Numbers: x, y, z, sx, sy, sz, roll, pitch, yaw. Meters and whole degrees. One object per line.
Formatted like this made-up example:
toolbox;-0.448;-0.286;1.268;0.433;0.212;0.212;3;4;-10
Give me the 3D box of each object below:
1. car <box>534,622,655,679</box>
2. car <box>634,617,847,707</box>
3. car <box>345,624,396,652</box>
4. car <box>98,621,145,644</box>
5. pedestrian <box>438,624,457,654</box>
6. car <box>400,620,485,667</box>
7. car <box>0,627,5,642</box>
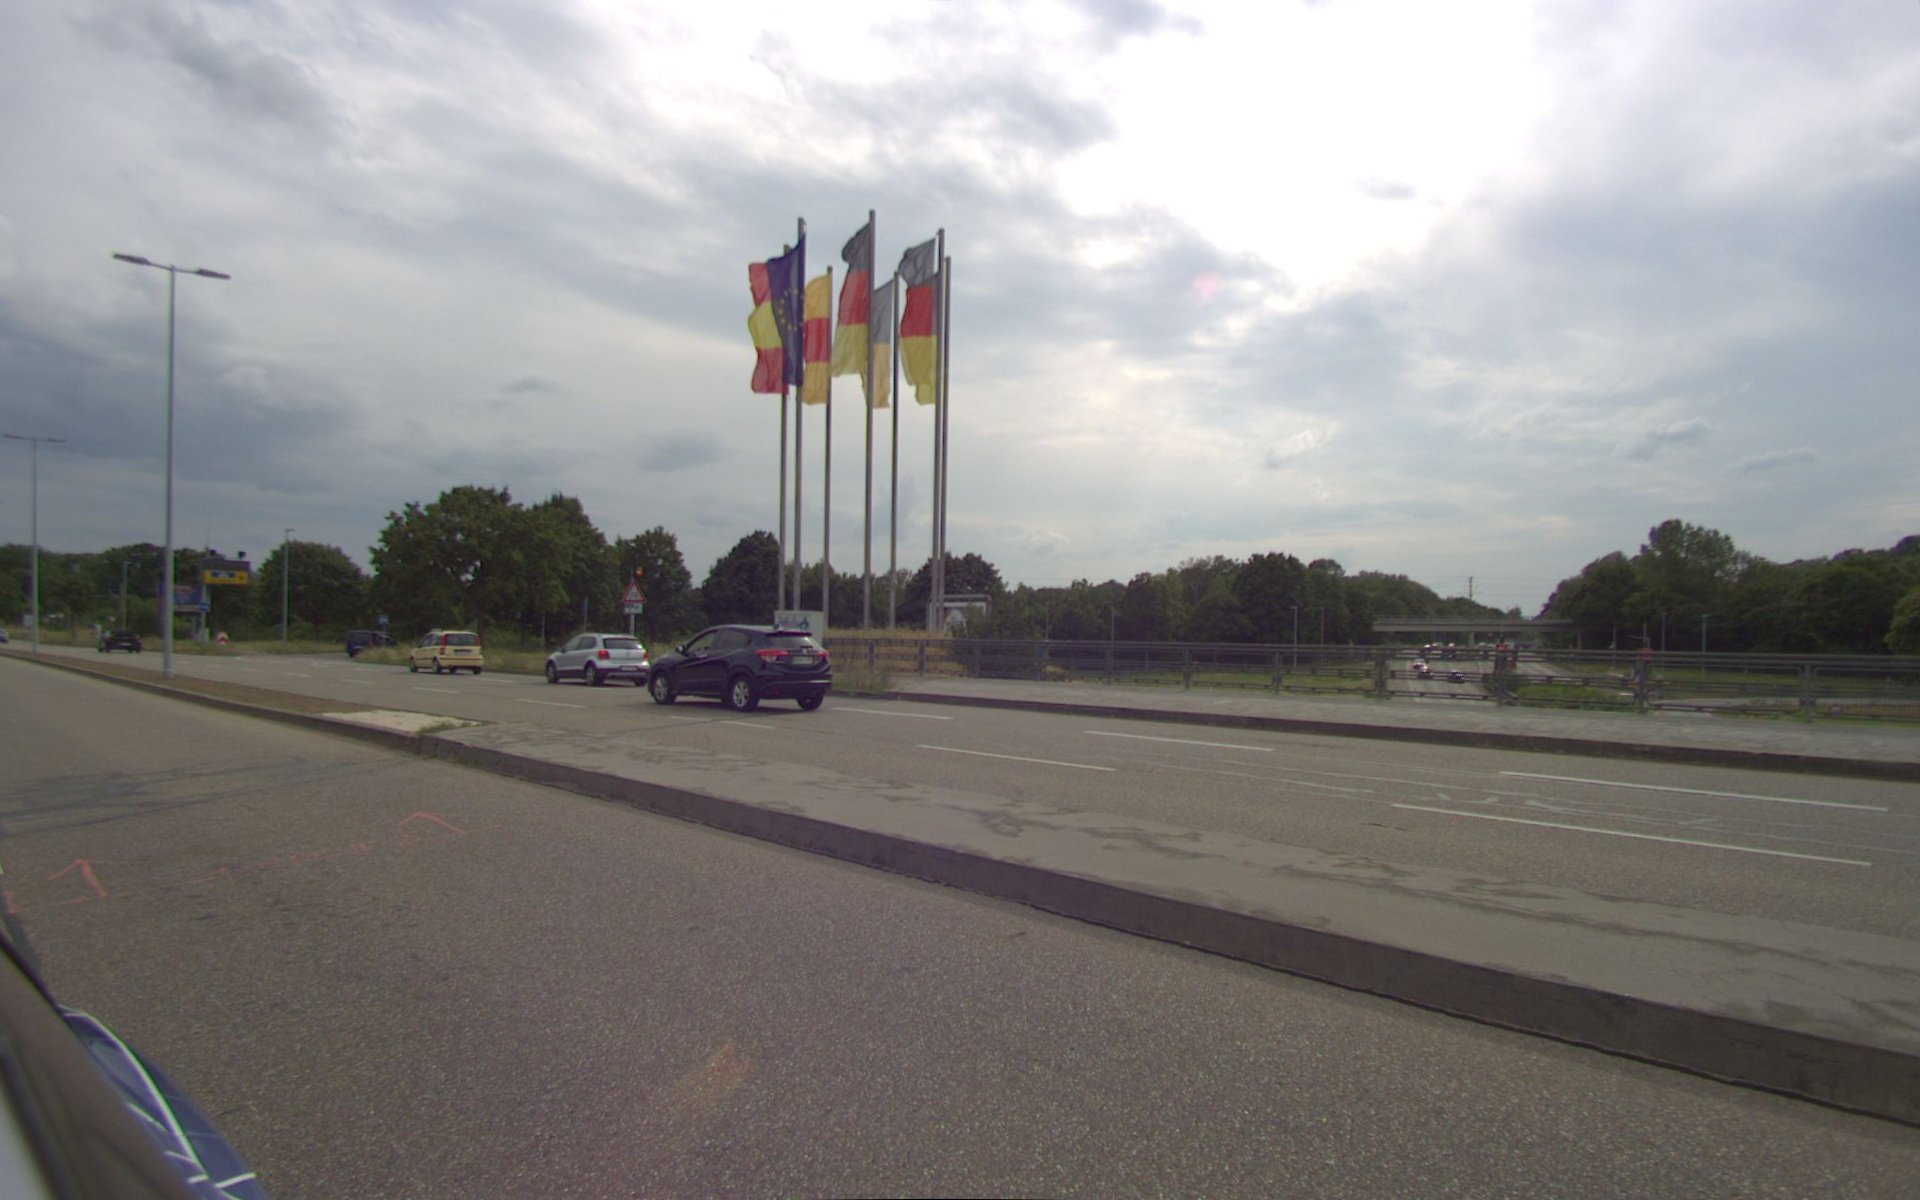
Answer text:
car;-10.551;1.441;29.101;4.017;1.527;1.631;-2;-4;44
car;-4.272;1.118;19.337;4.313;1.527;1.721;-1;-3;41
car;-42.619;2.810;73.292;1.821;1.908;5.520;3;-4;-17
car;-54.072;2.118;65.238;4.177;1.452;1.744;-2;-4;43
pedestrian;-30.173;2.307;59.588;0.853;1.706;0.681;1;-3;-20
car;-18.672;1.572;36.482;3.690;1.590;1.532;-2;-4;43
car;-107.933;3.866;112.754;4.559;1.613;1.827;-2;-3;42
